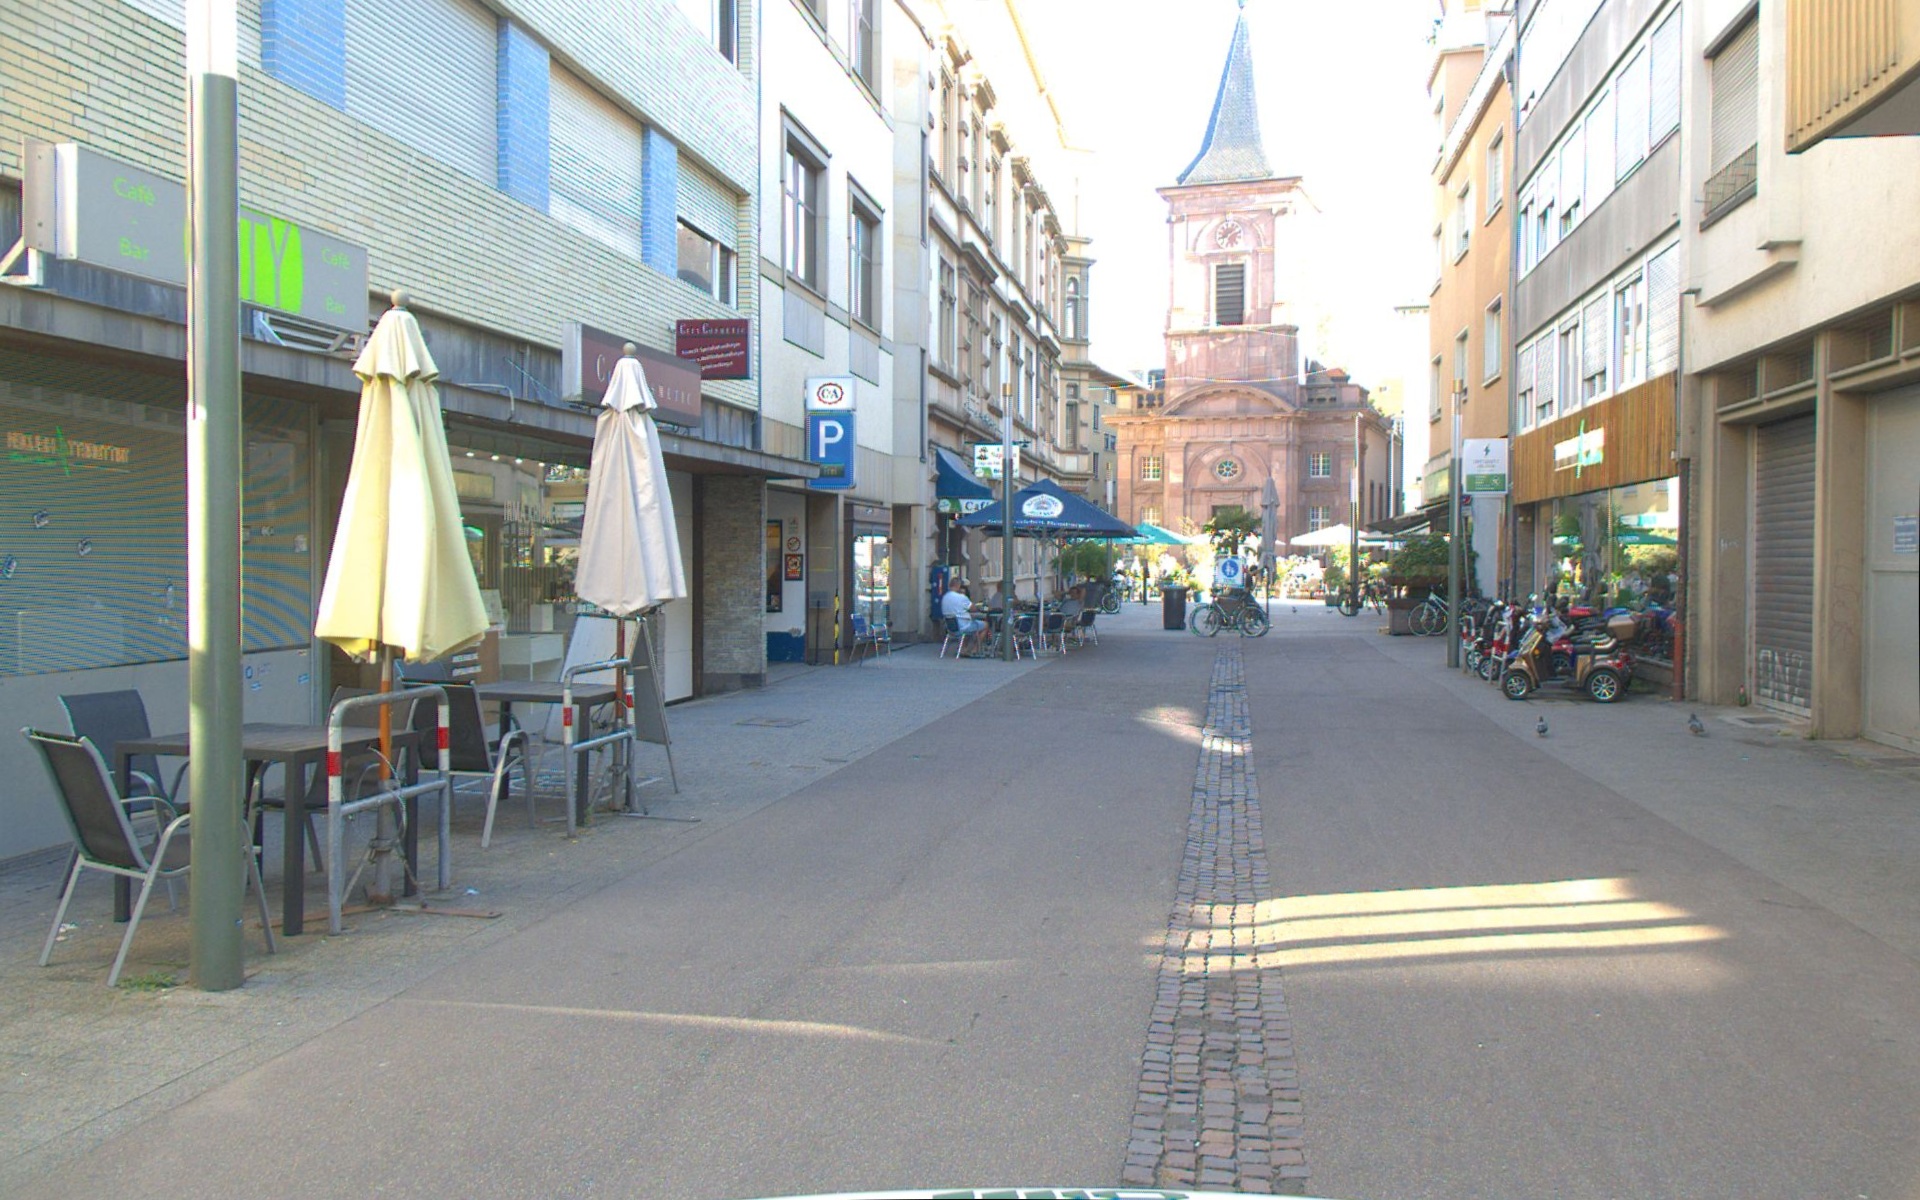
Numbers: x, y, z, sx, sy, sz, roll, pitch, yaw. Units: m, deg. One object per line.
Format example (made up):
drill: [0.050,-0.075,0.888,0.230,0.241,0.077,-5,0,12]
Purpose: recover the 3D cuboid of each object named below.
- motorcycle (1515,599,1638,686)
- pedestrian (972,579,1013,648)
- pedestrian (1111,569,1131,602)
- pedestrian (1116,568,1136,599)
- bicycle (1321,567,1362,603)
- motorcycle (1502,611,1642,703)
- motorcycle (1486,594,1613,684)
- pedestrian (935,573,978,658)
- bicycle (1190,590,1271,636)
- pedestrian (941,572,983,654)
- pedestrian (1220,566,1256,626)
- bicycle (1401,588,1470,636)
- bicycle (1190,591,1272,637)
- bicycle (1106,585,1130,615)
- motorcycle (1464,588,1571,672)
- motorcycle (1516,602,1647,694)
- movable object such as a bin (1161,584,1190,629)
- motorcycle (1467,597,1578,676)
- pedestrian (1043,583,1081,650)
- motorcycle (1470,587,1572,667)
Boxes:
motorcycle: [8.004,0.544,21.477,1.455,1.094,0.412,0,1,28]
pedestrian: [0.606,0.235,30.609,0.749,1.254,0.831,0,1,1]
pedestrian: [6.226,-0.563,63.987,0.685,1.239,0.720,0,1,15]
pedestrian: [6.559,-0.654,65.382,0.685,1.239,0.720,0,1,15]
bicycle: [14.339,-0.559,62.137,1.562,1.330,0.363,0,1,-20]
motorcycle: [7.323,0.664,19.807,1.534,1.060,0.372,0,1,28]
motorcycle: [8.109,0.521,22.777,1.593,1.195,0.480,0,1,28]
pedestrian: [-0.059,0.250,27.732,0.694,1.392,0.719,0,1,-3]
bicycle: [6.129,0.300,37.503,1.785,1.022,0.381,0,1,6]
pedestrian: [0.031,0.214,28.686,0.703,1.392,0.710,0,1,-3]
pedestrian: [7.010,-0.100,41.684,0.865,1.489,0.731,0,1,10]
bicycle: [10.378,0.250,36.145,1.432,1.022,0.573,1,1,16]
bicycle: [6.070,0.309,37.122,1.785,1.022,0.381,0,1,6]
bicycle: [4.761,-0.013,49.850,0.447,0.864,2.148,0,1,13]
motorcycle: [8.191,0.425,24.297,1.454,1.202,0.412,0,1,25]
motorcycle: [7.689,0.581,20.489,1.487,1.094,0.412,0,1,28]
movable object such as a bin: [5.302,0.154,40.702,0.706,1.093,0.374,0,1,8]
motorcycle: [8.013,0.510,23.574,1.455,1.094,0.412,0,1,28]
pedestrian: [1.917,0.308,31.106,0.678,1.236,0.583,0,1,1]
motorcycle: [8.595,0.409,25.354,1.454,1.202,0.412,0,1,25]
